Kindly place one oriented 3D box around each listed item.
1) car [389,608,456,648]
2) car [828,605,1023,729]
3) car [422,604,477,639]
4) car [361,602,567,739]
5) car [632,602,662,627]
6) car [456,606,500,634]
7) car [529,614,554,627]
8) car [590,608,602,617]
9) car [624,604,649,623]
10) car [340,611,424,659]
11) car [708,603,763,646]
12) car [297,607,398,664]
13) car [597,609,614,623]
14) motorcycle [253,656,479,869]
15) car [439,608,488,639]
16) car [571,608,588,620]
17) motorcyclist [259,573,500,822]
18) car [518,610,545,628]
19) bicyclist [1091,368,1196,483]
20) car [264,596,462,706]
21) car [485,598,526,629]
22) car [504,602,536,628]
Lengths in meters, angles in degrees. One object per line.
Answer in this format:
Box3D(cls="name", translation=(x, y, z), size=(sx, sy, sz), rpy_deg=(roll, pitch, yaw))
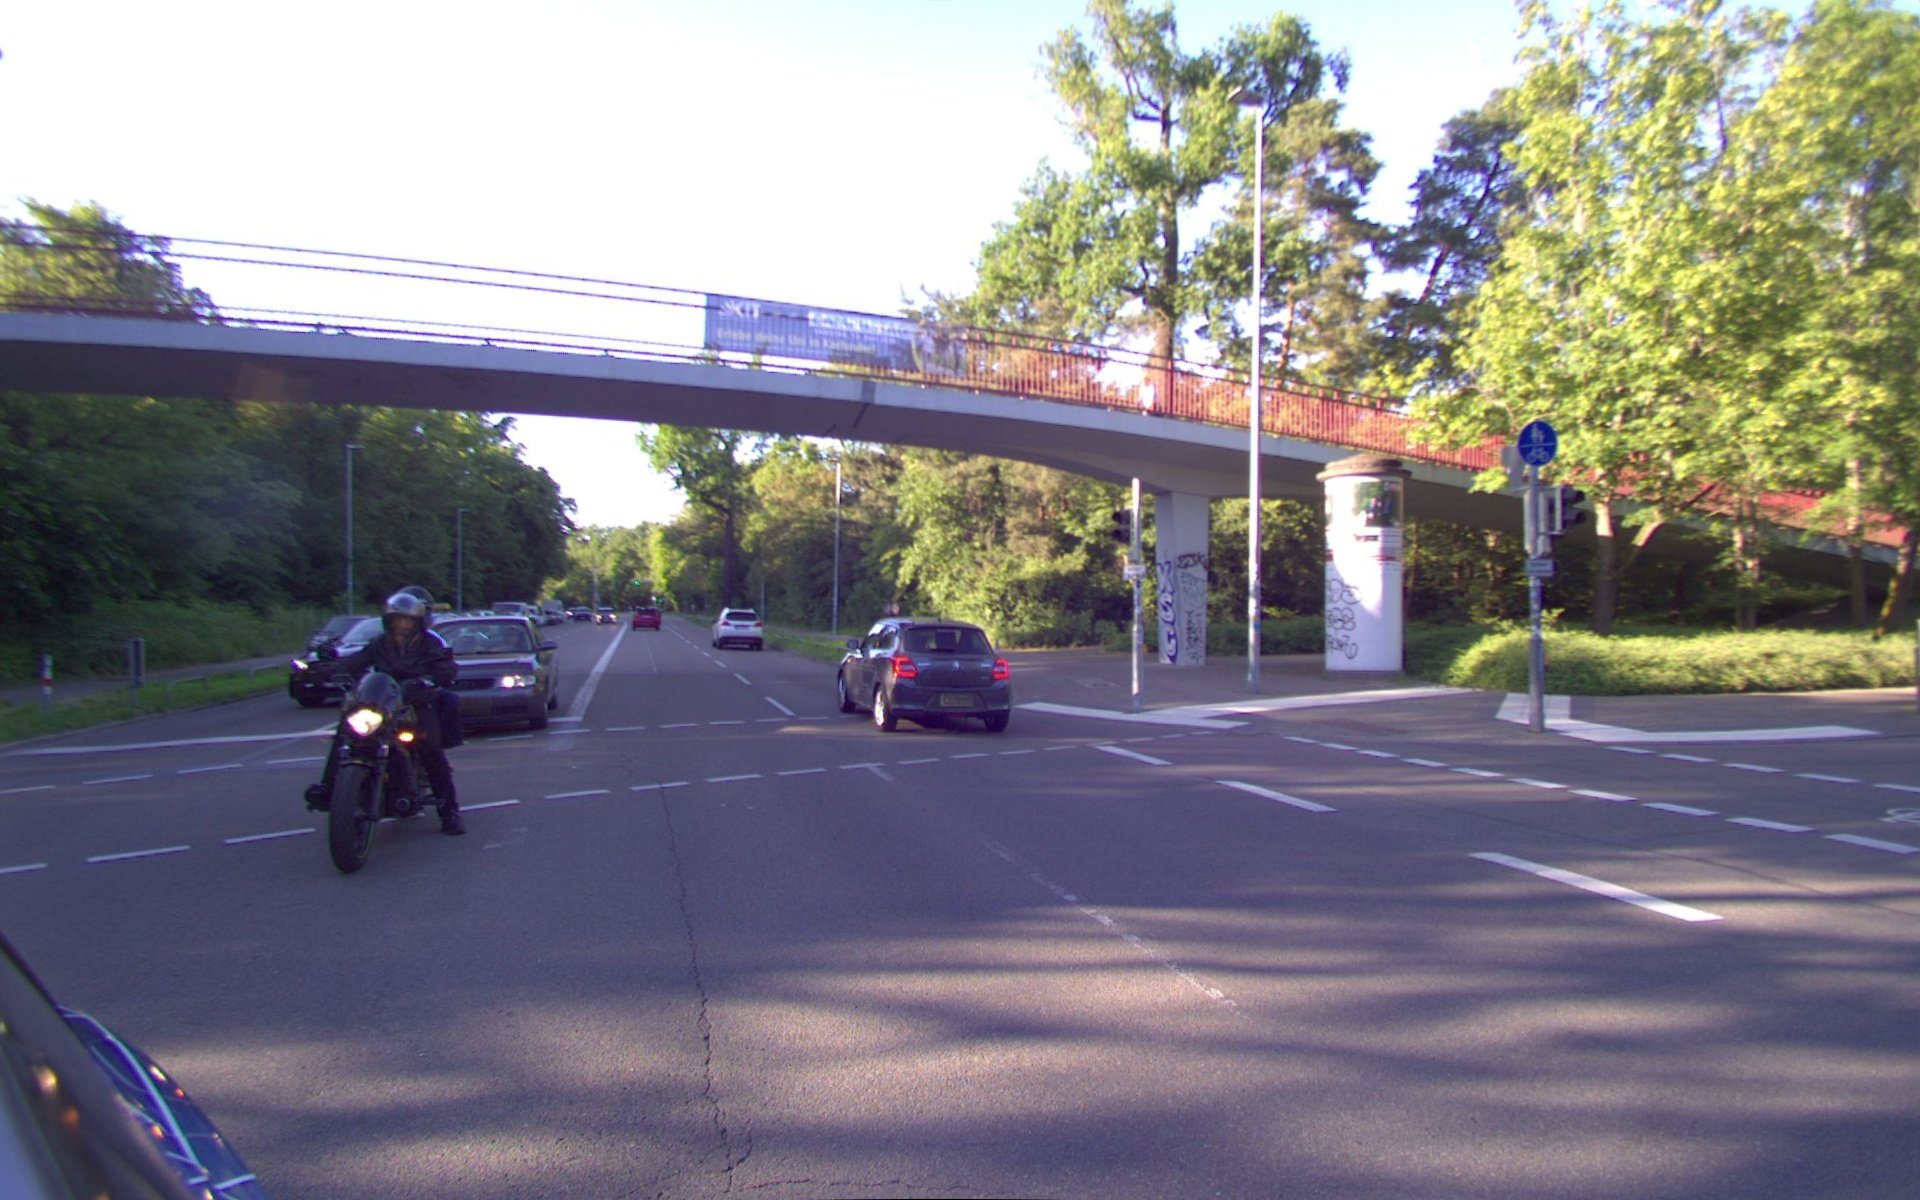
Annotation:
Box3D(cls="car", translation=(-21.423, 1.079, 40.502), size=(1.708, 1.519, 4.166), rpy_deg=(1, -1, -19))
Box3D(cls="car", translation=(-0.612, 0.845, 14.004), size=(1.683, 1.464, 3.651), rpy_deg=(3, -1, -18))
Box3D(cls="car", translation=(-23.084, 0.968, 45.884), size=(1.676, 1.519, 4.150), rpy_deg=(1, -1, -19))
Box3D(cls="car", translation=(-6.185, 0.776, 13.071), size=(1.837, 1.400, 4.012), rpy_deg=(-2, 0, -18))
Box3D(cls="car", translation=(-19.756, 0.887, 63.810), size=(1.726, 1.467, 3.651), rpy_deg=(2, -1, -18))
Box3D(cls="car", translation=(-26.692, 1.090, 56.126), size=(1.708, 1.519, 4.409), rpy_deg=(1, -1, -19))
Box3D(cls="car", translation=(-39.572, 1.921, 95.727), size=(1.884, 1.230, 4.013), rpy_deg=(0, 0, -19))
Box3D(cls="car", translation=(-58.673, 2.038, 163.183), size=(1.863, 1.511, 4.409), rpy_deg=(1, -1, -19))
Box3D(cls="car", translation=(-26.800, 1.116, 83.749), size=(1.933, 1.517, 4.662), rpy_deg=(0, 0, -18))
Box3D(cls="car", translation=(-19.252, 1.129, 33.879), size=(1.692, 1.519, 3.988), rpy_deg=(1, -1, -19))
Box3D(cls="car", translation=(-8.651, 0.918, 38.804), size=(1.653, 1.535, 3.913), rpy_deg=(2, -1, -18))
Box3D(cls="car", translation=(-17.671, 0.969, 29.387), size=(1.666, 1.519, 4.139), rpy_deg=(0, 0, -19))
Box3D(cls="car", translation=(-32.243, 1.465, 92.072), size=(1.441, 1.253, 4.013), rpy_deg=(0, 0, -19))
Box3D(cls="motorcycle", translation=(-3.804, 0.937, 6.750), size=(0.794, 0.920, 2.721), rpy_deg=(0, 1, -19))
Box3D(cls="car", translation=(-25.054, 1.158, 51.168), size=(1.708, 1.519, 4.239), rpy_deg=(1, -1, -19))
Box3D(cls="car", translation=(-43.075, 1.579, 114.680), size=(1.707, 1.253, 4.013), rpy_deg=(0, 0, -19))
Box3D(cls="motorcyclist", translation=(-3.767, 0.544, 6.763), size=(1.119, 1.438, 1.572), rpy_deg=(0, 1, -19))
Box3D(cls="car", translation=(-38.089, 1.653, 89.993), size=(1.863, 1.558, 4.409), rpy_deg=(1, -1, -19))
Box3D(cls="bicyclist", translation=(4.376, -4.134, 24.284), size=(1.657, 2.183, 1.416), rpy_deg=(12, -3, -16))
Box3D(cls="car", translation=(-10.458, 0.764, 18.238), size=(1.965, 1.647, 5.905), rpy_deg=(0, 0, -19))
Box3D(cls="car", translation=(-30.360, 0.915, 67.747), size=(1.984, 1.991, 5.057), rpy_deg=(1, -1, -19))
Box3D(cls="car", translation=(-34.499, 1.184, 79.513), size=(1.919, 1.991, 4.409), rpy_deg=(1, -1, -19))
